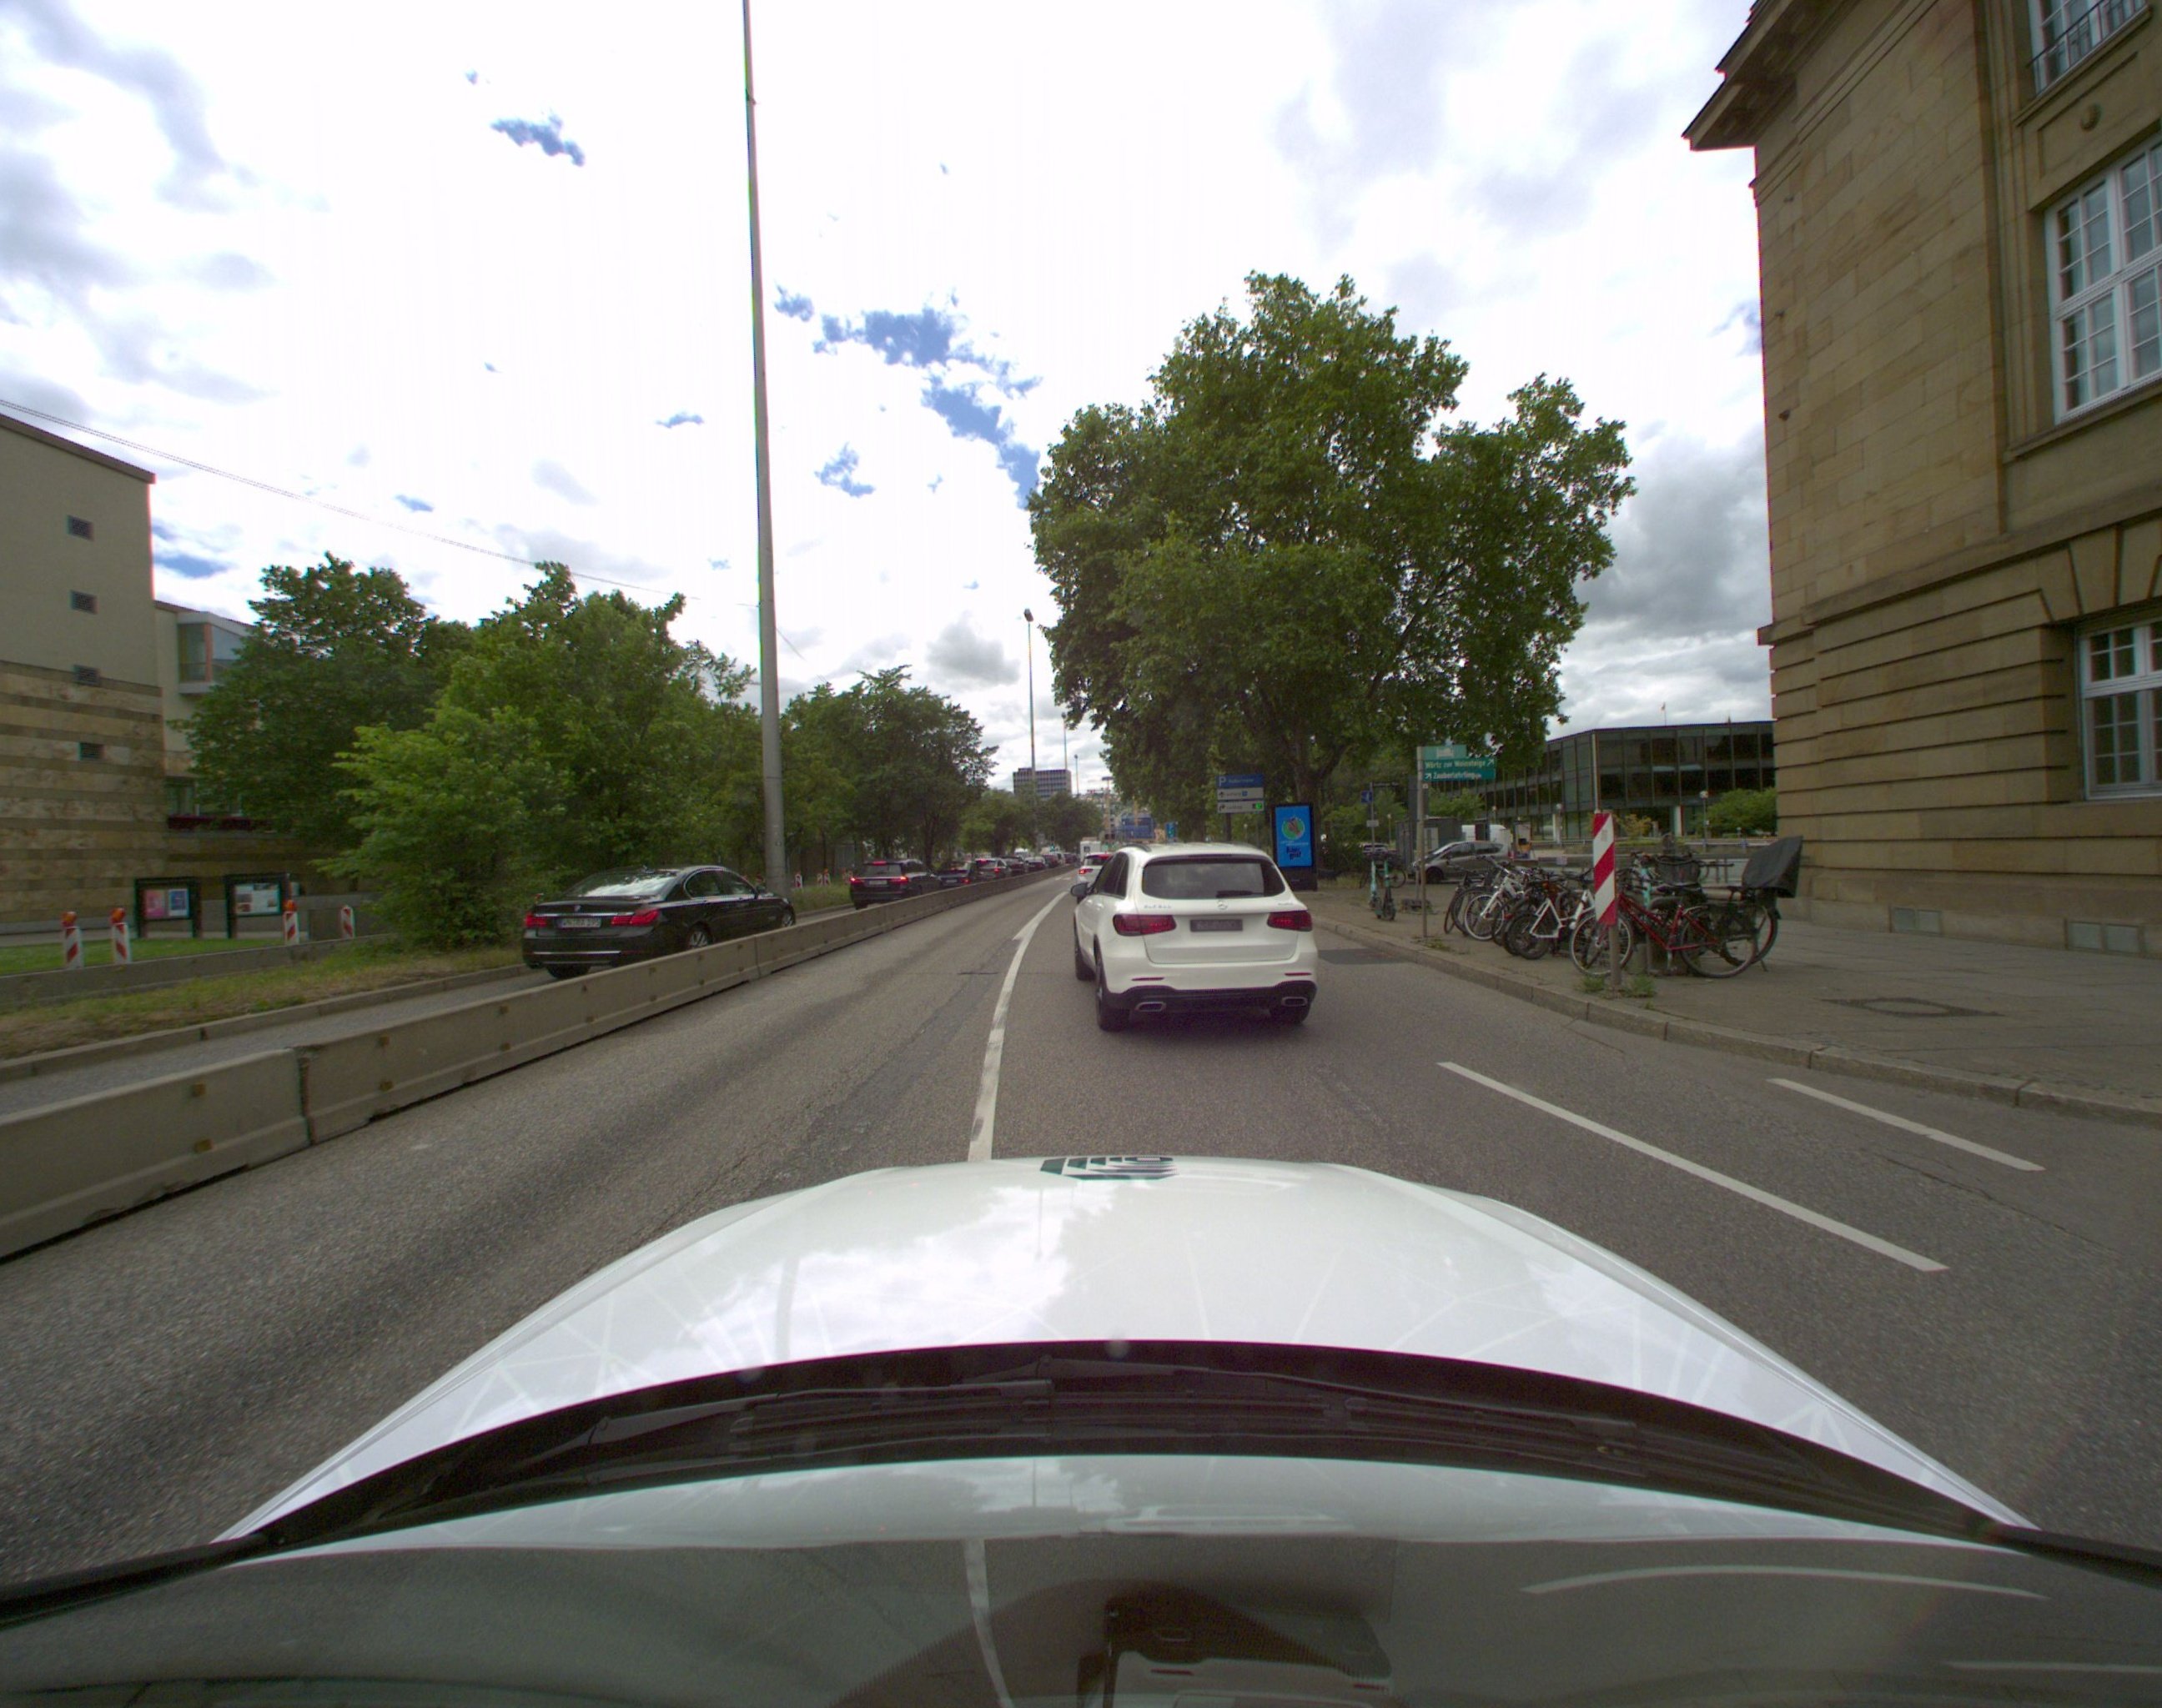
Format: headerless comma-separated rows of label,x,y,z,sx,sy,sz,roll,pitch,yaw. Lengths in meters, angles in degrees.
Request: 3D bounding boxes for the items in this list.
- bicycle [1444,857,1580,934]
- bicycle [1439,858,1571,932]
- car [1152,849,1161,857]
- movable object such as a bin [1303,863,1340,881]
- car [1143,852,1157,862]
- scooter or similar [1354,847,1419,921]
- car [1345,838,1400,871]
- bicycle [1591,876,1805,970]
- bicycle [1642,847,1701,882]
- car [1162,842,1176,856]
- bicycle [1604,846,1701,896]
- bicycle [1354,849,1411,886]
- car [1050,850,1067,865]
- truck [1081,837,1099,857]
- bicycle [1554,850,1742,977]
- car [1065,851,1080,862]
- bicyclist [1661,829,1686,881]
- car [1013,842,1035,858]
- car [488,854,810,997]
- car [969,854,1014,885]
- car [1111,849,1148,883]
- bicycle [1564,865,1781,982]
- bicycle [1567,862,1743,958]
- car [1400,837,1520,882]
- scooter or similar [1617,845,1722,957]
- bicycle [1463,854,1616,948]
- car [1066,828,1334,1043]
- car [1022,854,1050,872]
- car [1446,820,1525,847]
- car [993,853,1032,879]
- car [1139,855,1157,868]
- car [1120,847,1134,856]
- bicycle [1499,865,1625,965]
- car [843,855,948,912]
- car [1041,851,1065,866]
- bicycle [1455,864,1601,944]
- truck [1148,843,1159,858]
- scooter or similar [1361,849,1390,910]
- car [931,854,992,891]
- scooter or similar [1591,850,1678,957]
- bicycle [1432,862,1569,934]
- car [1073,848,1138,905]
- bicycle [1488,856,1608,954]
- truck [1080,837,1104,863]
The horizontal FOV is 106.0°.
bicycle,6.287,0.601,11.951,1.715,1.091,0.382,-1,0,15
bicycle,6.410,0.609,12.381,1.715,1.091,0.427,-1,0,15
car,16.747,-0.273,180.479,1.751,1.669,4.172,-2,0,3
movable object such as a bin,9.130,0.674,30.970,1.290,0.652,0.731,0,-1,11
car,9.544,0.432,112.909,1.938,1.319,4.021,-1,0,4
scooter or similar,5.728,0.542,15.365,0.723,1.331,1.414,-1,0,2
car,15.557,-0.005,43.678,1.752,1.551,4.031,-2,2,4
bicycle,6.576,0.729,8.784,1.713,0.917,0.617,-2,0,21
bicycle,20.104,0.349,27.746,1.747,1.131,0.443,-2,0,-6
car,13.485,-0.727,124.537,1.985,2.013,4.004,-1,0,4
bicycle,13.748,0.413,19.599,2.003,1.125,0.389,-2,-1,1
bicycle,10.438,0.462,28.211,1.776,1.221,0.493,-2,0,5
car,-2.365,0.385,85.013,1.654,1.513,3.546,-2,-1,-1
truck,1.405,-1.038,124.146,2.681,2.992,5.640,0,0,2
bicycle,5.912,0.595,8.577,1.529,1.257,0.546,-1,0,21
car,-1.137,0.297,105.975,1.652,1.319,3.551,-1,0,4
bicyclist,20.409,0.042,28.060,0.435,1.748,0.474,-2,0,-5
car,-7.668,-0.512,110.192,2.107,1.969,5.583,-2,0,3
car,-5.859,0.836,11.955,1.916,1.636,4.939,-1,0,2
car,-4.447,0.768,40.925,1.655,1.436,3.963,-1,0,3
car,2.465,0.588,42.290,1.654,1.639,3.546,-1,0,-1
bicycle,5.847,0.670,8.152,1.648,1.074,0.588,-1,0,22
bicycle,6.396,0.609,9.136,1.552,1.028,0.437,-1,0,13
car,14.524,0.211,31.327,3.820,1.568,1.680,-2,0,2
scooter or similar,7.104,0.537,9.878,0.559,1.278,1.151,-1,0,8
bicycle,6.218,0.623,11.097,1.752,1.209,0.604,-1,0,-1
car,0.903,0.632,8.553,1.785,1.625,4.429,-1,0,-5
car,-3.353,0.653,61.274,1.651,1.319,3.551,-1,0,4
car,37.252,-1.848,75.190,6.079,2.260,2.404,-2,0,4
car,-4.136,0.684,49.503,1.768,1.420,4.003,-2,0,3
car,7.706,0.830,93.594,1.938,1.428,4.021,-1,0,4
car,6.676,-0.381,117.549,1.938,1.319,4.021,-1,0,4
bicycle,5.917,0.719,10.002,1.616,1.130,0.466,-1,0,-24
car,-5.459,0.816,24.649,1.809,1.499,4.772,-2,0,3
car,-2.530,0.412,73.745,1.651,1.319,3.553,-1,0,6
bicycle,6.301,0.693,11.552,1.717,1.091,0.576,-1,0,11
truck,20.563,-0.928,231.417,2.865,4.103,6.644,-1,0,4
scooter or similar,6.450,0.548,17.887,0.428,1.280,1.439,-1,0,14
car,-4.972,0.735,34.549,1.671,1.367,4.546,-2,0,3
scooter or similar,6.774,0.572,10.022,0.423,1.224,1.317,0,-1,13
bicycle,6.627,0.678,12.957,1.843,1.091,0.668,-1,0,15
car,0.694,0.655,25.577,1.791,1.608,3.752,-1,0,-2
bicycle,5.784,0.595,10.058,1.617,1.130,0.405,-1,0,-24
truck,1.317,-0.421,93.482,2.611,2.861,7.082,-1,0,2
